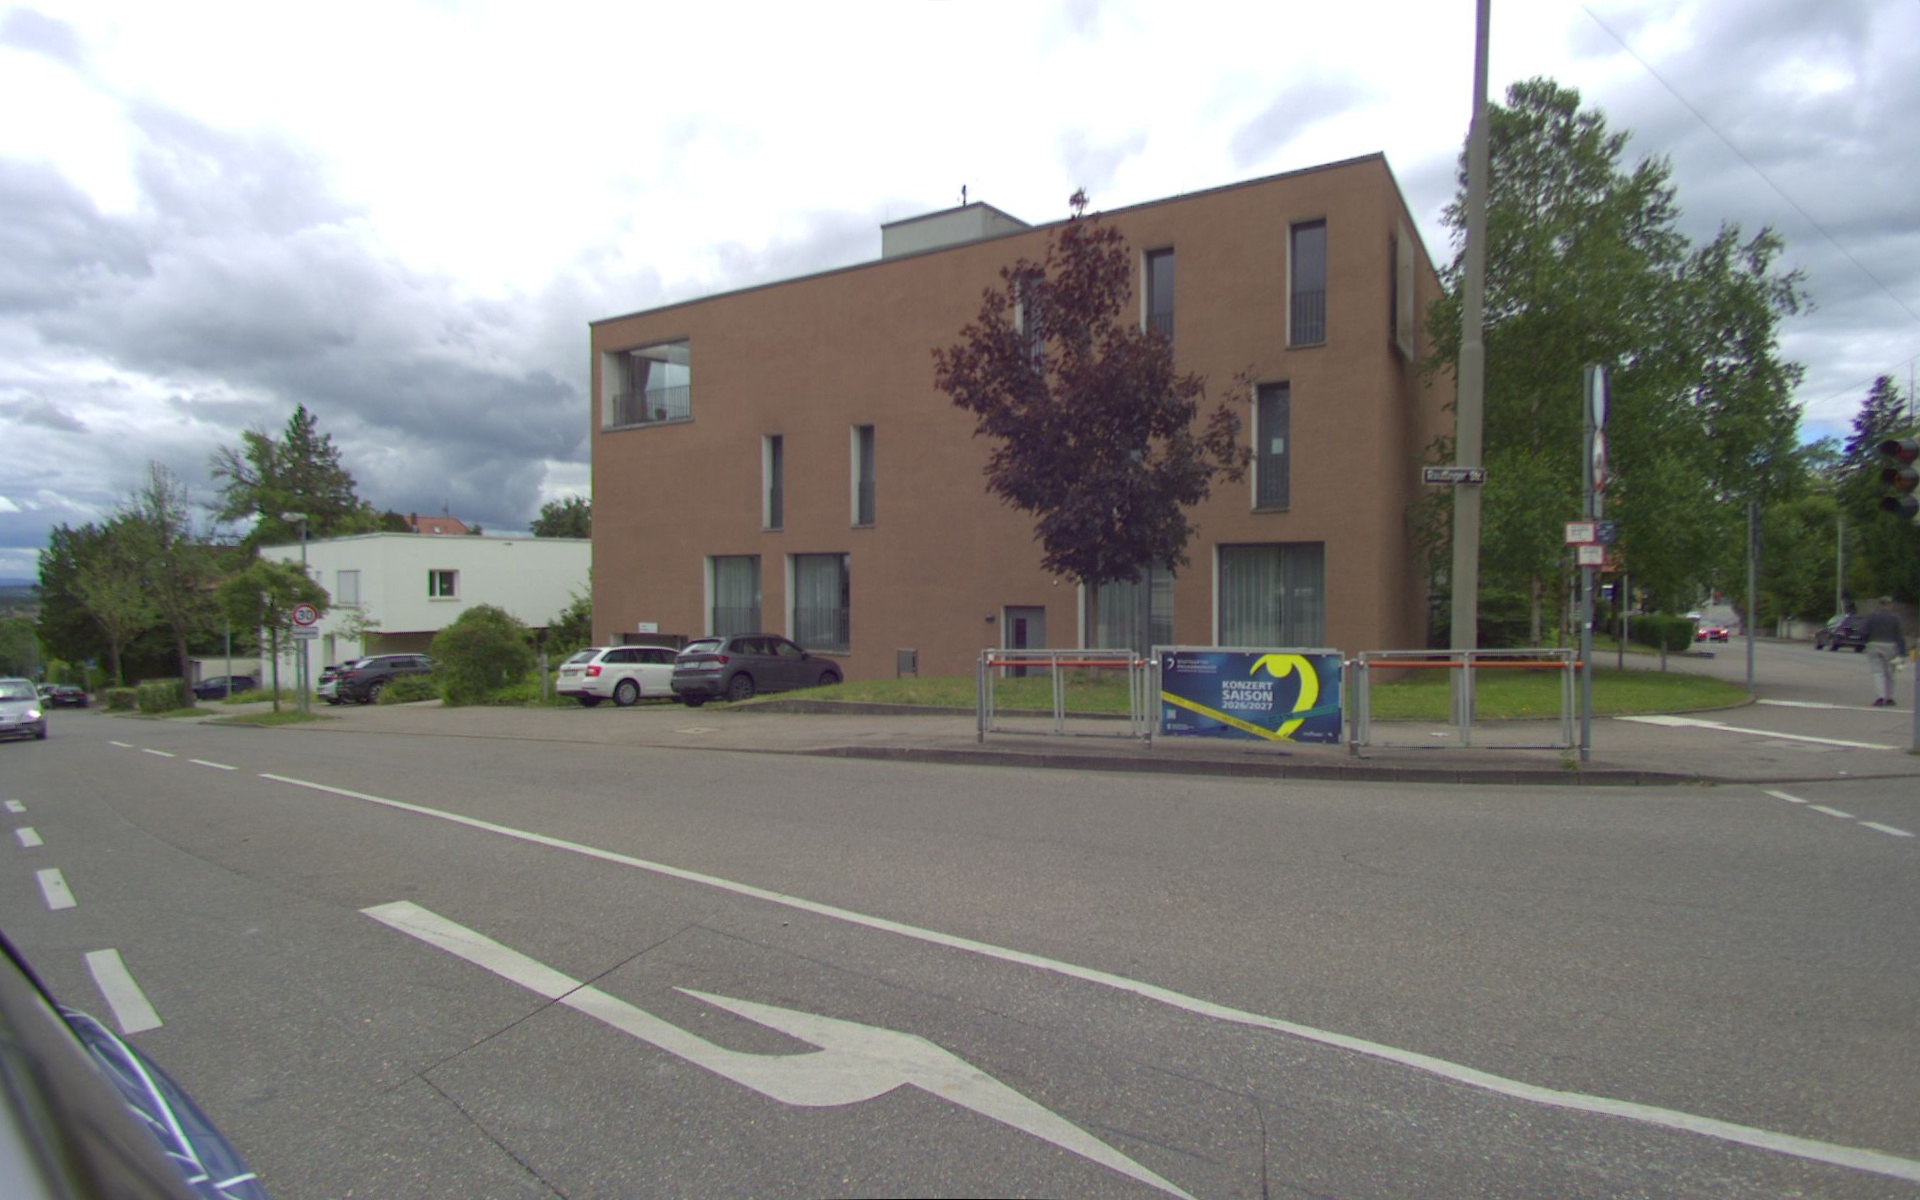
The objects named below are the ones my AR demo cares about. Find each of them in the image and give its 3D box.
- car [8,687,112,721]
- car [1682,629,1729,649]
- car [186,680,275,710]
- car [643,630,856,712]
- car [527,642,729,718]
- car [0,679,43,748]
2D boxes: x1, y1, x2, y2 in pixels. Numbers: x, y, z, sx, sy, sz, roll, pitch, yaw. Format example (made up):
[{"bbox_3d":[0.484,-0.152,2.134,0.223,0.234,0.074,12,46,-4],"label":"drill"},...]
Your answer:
[{"bbox_3d":[-53.352,6.135,60.045,1.998,1.570,4.379,-3,-2,39],"label":"car"},{"bbox_3d":[50.674,2.612,68.864,1.991,1.209,3.962,-1,0,28],"label":"car"},{"bbox_3d":[-47.329,6.144,65.732,1.998,1.570,4.379,-3,-2,39],"label":"car"},{"bbox_3d":[-4.587,1.510,22.546,1.998,1.570,4.379,-3,-2,39],"label":"car"},{"bbox_3d":[-8.107,1.899,25.020,1.998,1.570,4.379,-3,-2,39],"label":"car"},{"bbox_3d":[-24.648,2.920,25.698,1.969,1.608,4.004,-2,-3,-42],"label":"car"}]
